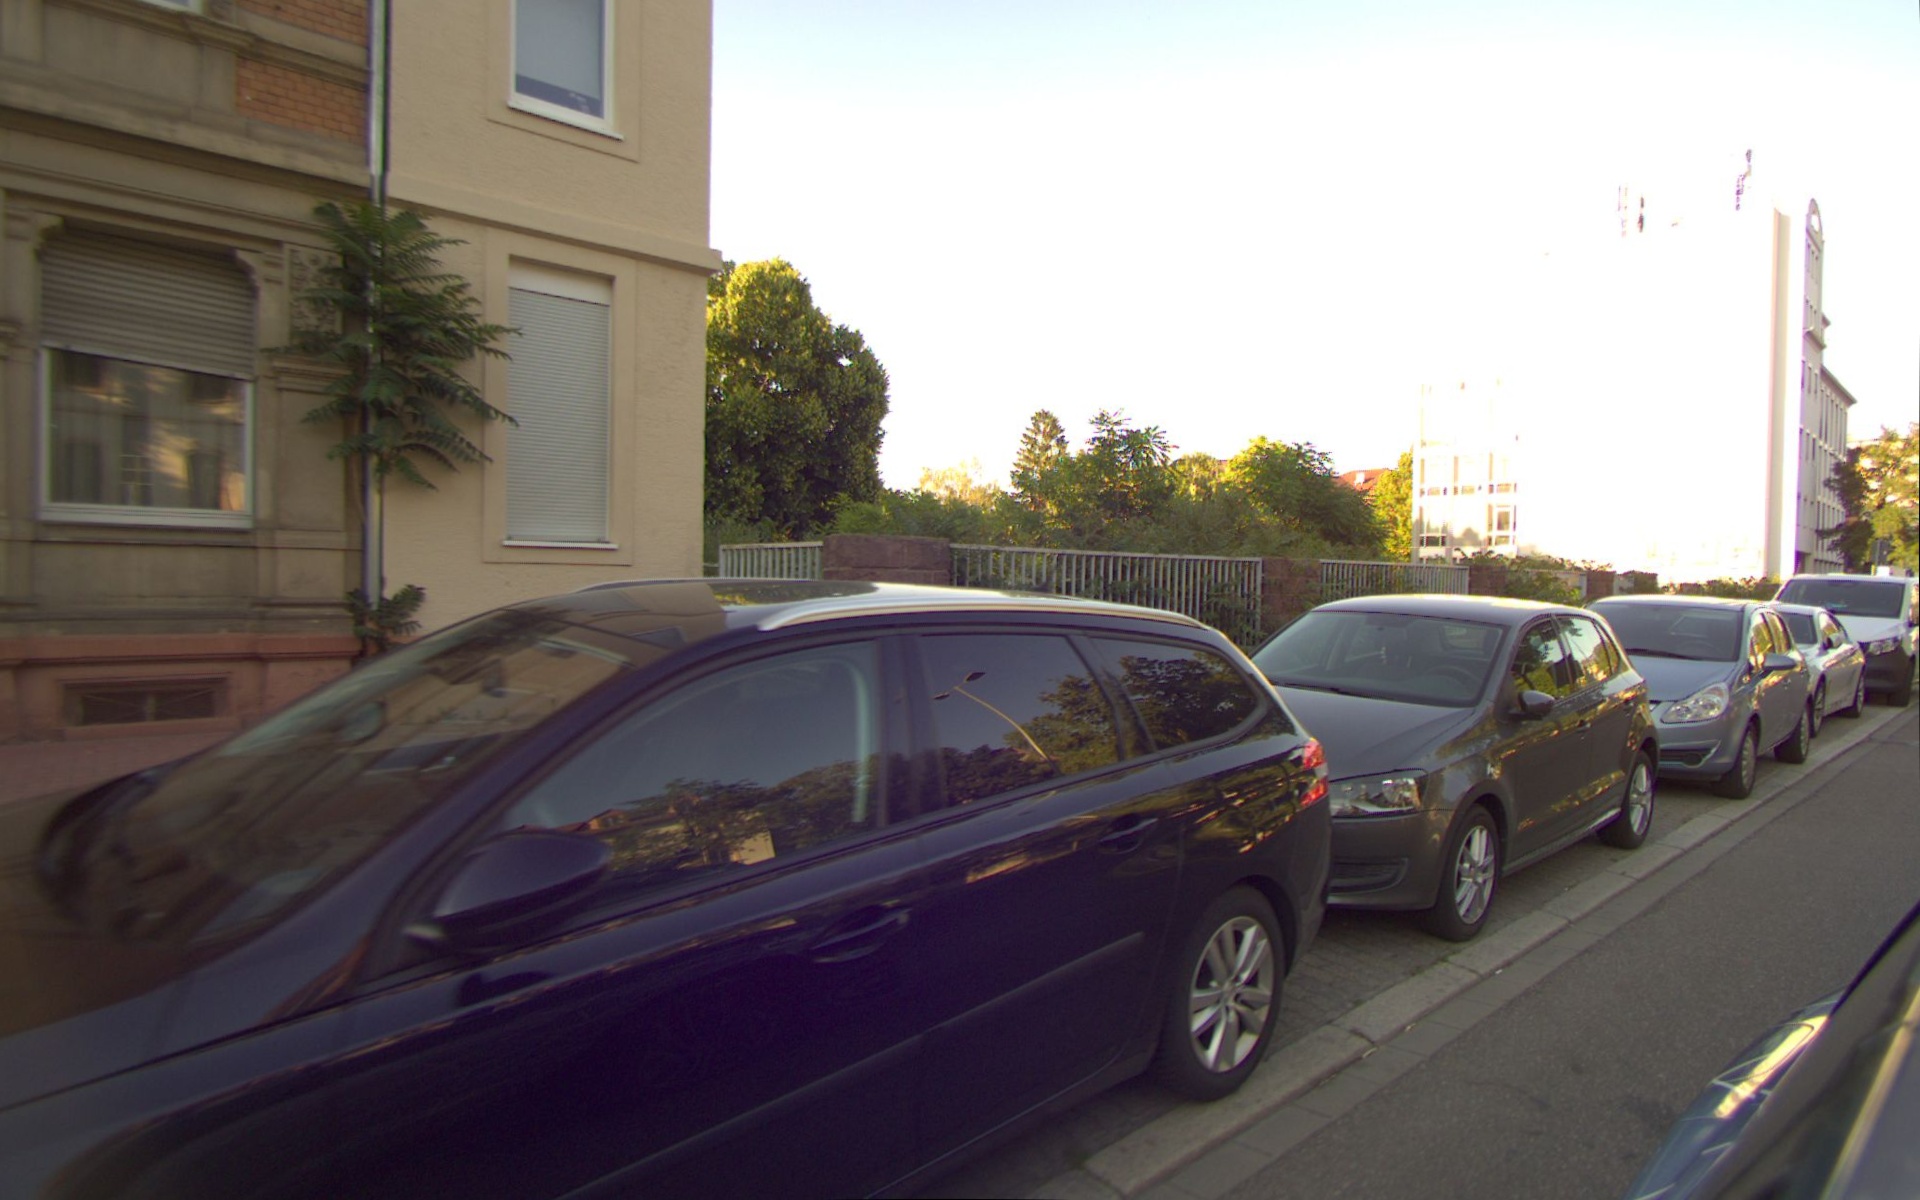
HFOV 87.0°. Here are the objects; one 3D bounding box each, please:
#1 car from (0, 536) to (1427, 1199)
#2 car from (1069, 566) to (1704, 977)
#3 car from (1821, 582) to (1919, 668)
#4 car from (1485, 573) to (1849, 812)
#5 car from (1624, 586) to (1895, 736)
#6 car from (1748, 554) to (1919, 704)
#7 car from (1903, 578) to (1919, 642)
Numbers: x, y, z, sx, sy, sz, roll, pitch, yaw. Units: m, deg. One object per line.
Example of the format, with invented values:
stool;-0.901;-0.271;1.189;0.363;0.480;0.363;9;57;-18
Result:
car;-0.681;0.644;2.777;4.387;1.465;1.892;-1;5;-42
car;2.567;0.611;5.686;3.773;1.443;1.751;0;5;-41
car;20.168;0.482;21.780;4.420;1.593;1.778;0;4;-41
car;6.219;0.595;8.742;3.827;1.505;1.704;-1;5;-43
car;9.966;0.601;12.474;4.562;1.401;1.732;0;5;-41
car;14.437;0.358;16.020;5.086;1.941;1.893;0;5;-39
car;30.231;0.333;30.690;4.475;1.851;1.778;0;4;-40
